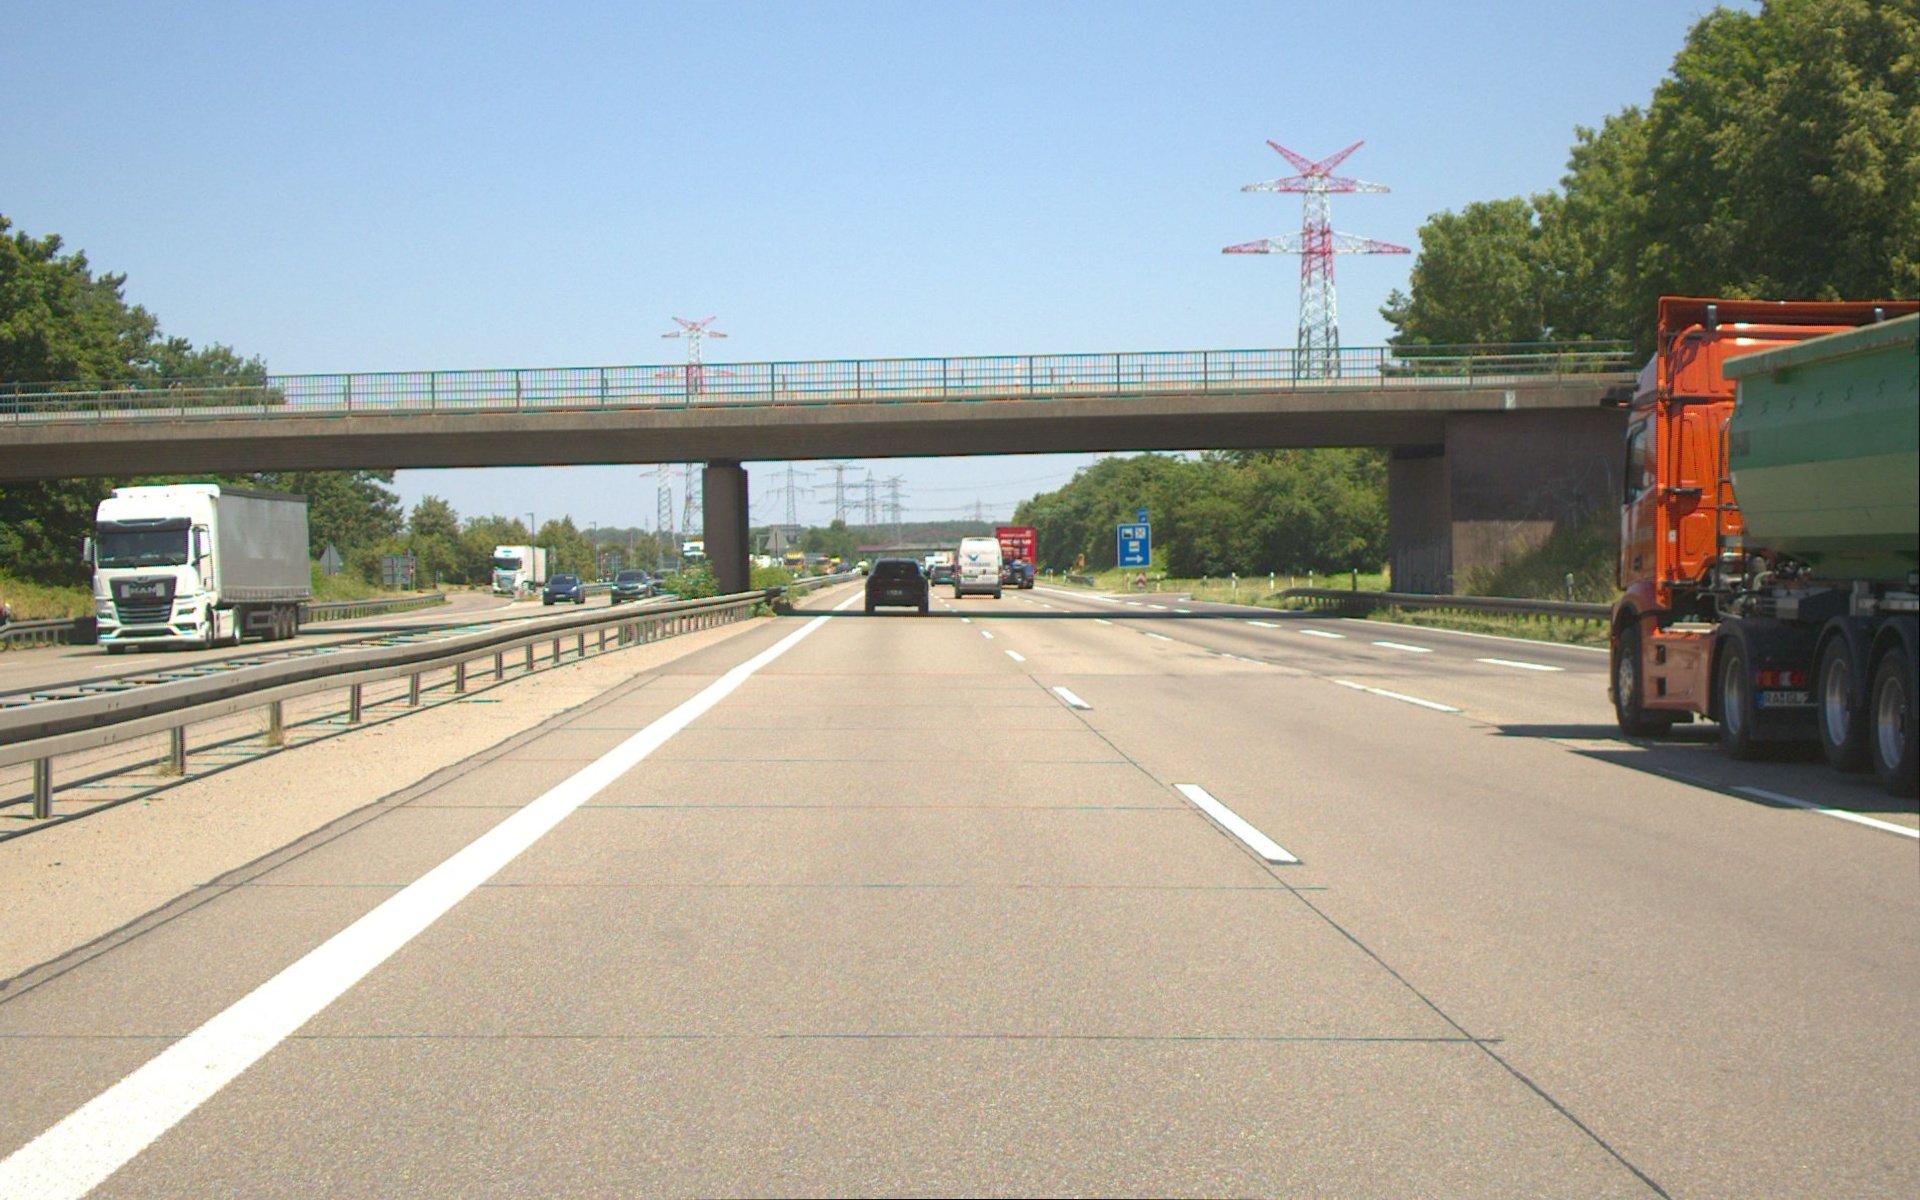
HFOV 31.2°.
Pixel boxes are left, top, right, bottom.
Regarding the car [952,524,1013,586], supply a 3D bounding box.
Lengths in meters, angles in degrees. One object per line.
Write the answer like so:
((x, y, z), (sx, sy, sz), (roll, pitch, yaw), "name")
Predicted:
((1.008, -2.085, 158.356), (2.621, 2.749, 6.097), (1, 1, -1), "car")

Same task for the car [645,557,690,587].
((-17.034, -1.637, 200.207), (2.227, 1.605, 5.060), (-3, 1, -1), "car")

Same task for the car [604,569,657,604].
((-16.583, -0.691, 173.145), (2.227, 1.605, 5.060), (-3, 1, -1), "car")

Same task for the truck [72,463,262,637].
((-19.362, -1.226, 84.334), (2.949, 3.946, 6.953), (-3, 1, -1), "truck")

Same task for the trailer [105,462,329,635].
((-19.515, -1.372, 91.367), (2.949, 4.094, 14.104), (-3, 1, -1), "trailer")

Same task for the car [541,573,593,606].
((-20.950, -0.590, 183.527), (2.227, 1.605, 5.060), (-3, 1, -1), "car")

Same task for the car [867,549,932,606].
((-1.912, -0.721, 108.222), (1.993, 1.744, 4.000), (1, 1, -1), "car")

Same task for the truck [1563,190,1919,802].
((7.199, -0.713, 26.492), (2.681, 3.785, 12.479), (1, 1, -1), "truck")

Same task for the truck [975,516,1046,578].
((3.257, -3.501, 228.857), (4.331, 3.928, 16.078), (1, 1, 0), "truck")

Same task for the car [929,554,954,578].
((-1.359, -2.454, 247.936), (1.747, 1.628, 4.004), (1, 1, -1), "car")
